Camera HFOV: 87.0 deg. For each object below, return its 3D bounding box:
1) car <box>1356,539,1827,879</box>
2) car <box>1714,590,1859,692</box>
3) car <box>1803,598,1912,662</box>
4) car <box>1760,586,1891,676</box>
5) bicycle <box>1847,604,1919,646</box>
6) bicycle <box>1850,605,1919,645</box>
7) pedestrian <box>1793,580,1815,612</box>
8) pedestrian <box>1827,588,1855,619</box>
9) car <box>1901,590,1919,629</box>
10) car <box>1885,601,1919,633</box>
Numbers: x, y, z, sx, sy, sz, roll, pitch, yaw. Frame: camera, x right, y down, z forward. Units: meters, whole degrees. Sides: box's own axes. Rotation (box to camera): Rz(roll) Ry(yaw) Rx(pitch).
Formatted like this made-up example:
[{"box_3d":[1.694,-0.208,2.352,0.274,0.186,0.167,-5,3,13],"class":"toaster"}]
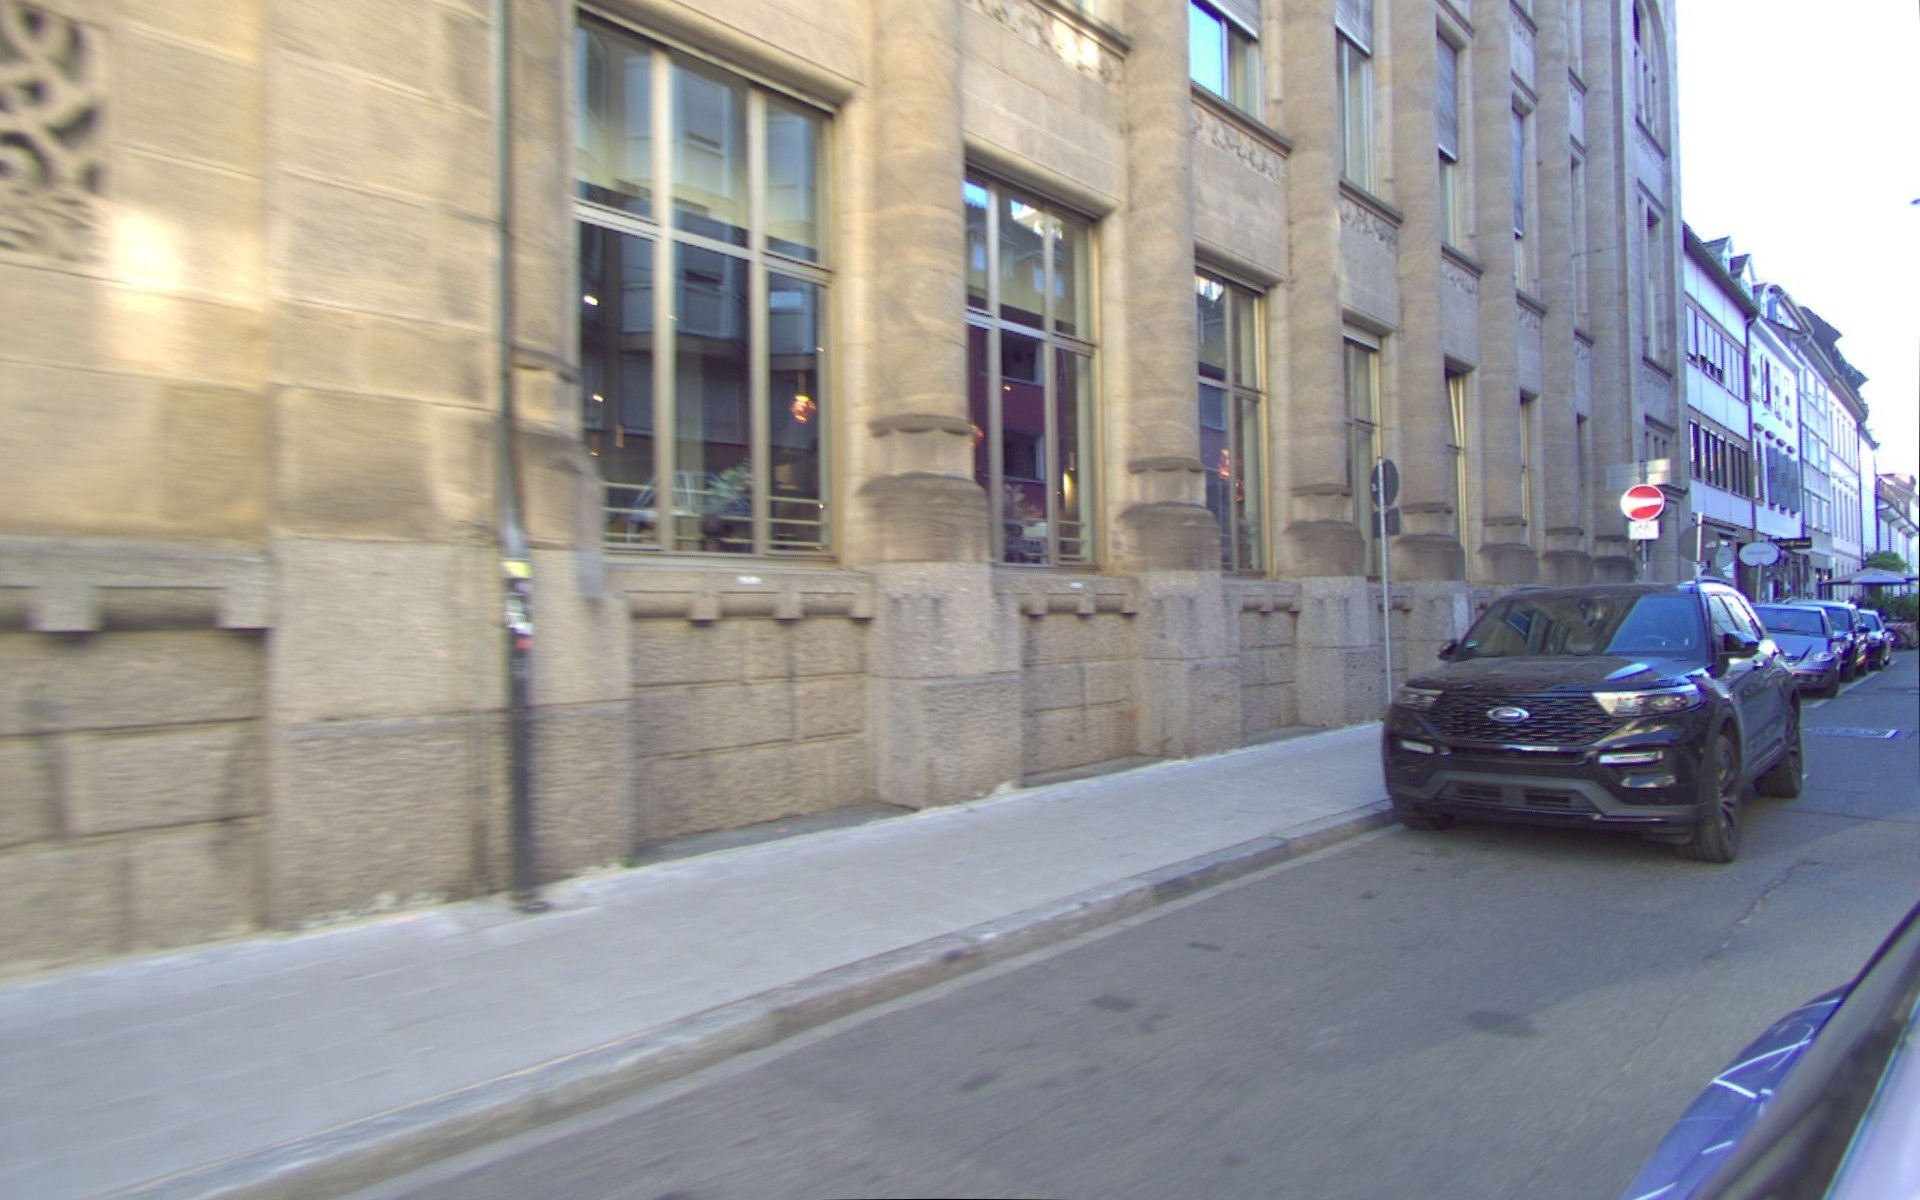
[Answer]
[{"box_3d":[5.104,0.603,7.816,4.854,1.806,1.994,0,-2,-45],"class":"car"},{"box_3d":[15.452,0.697,18.849,1.773,1.687,3.937,-2,-1,44],"class":"car"},{"box_3d":[23.464,0.736,26.393,4.907,1.536,1.691,0,-2,-44],"class":"car"},{"box_3d":[19.352,0.663,22.574,4.167,1.830,1.672,0,-3,-43],"class":"car"},{"box_3d":[31.172,0.825,34.074,0.586,1.319,1.872,0,2,-42],"class":"bicycle"},{"box_3d":[31.658,0.835,34.539,0.586,1.243,1.872,0,2,-42],"class":"bicycle"},{"box_3d":[33.216,-0.148,39.814,0.599,1.259,0.565,-1,-1,-44],"class":"pedestrian"},{"box_3d":[36.645,0.155,42.102,0.635,1.259,0.735,-1,-2,-42],"class":"pedestrian"},{"box_3d":[47.696,0.437,49.642,3.933,1.869,1.995,0,-2,-44],"class":"car"},{"box_3d":[40.505,0.695,42.682,3.933,1.313,1.936,0,-2,-44],"class":"car"}]
